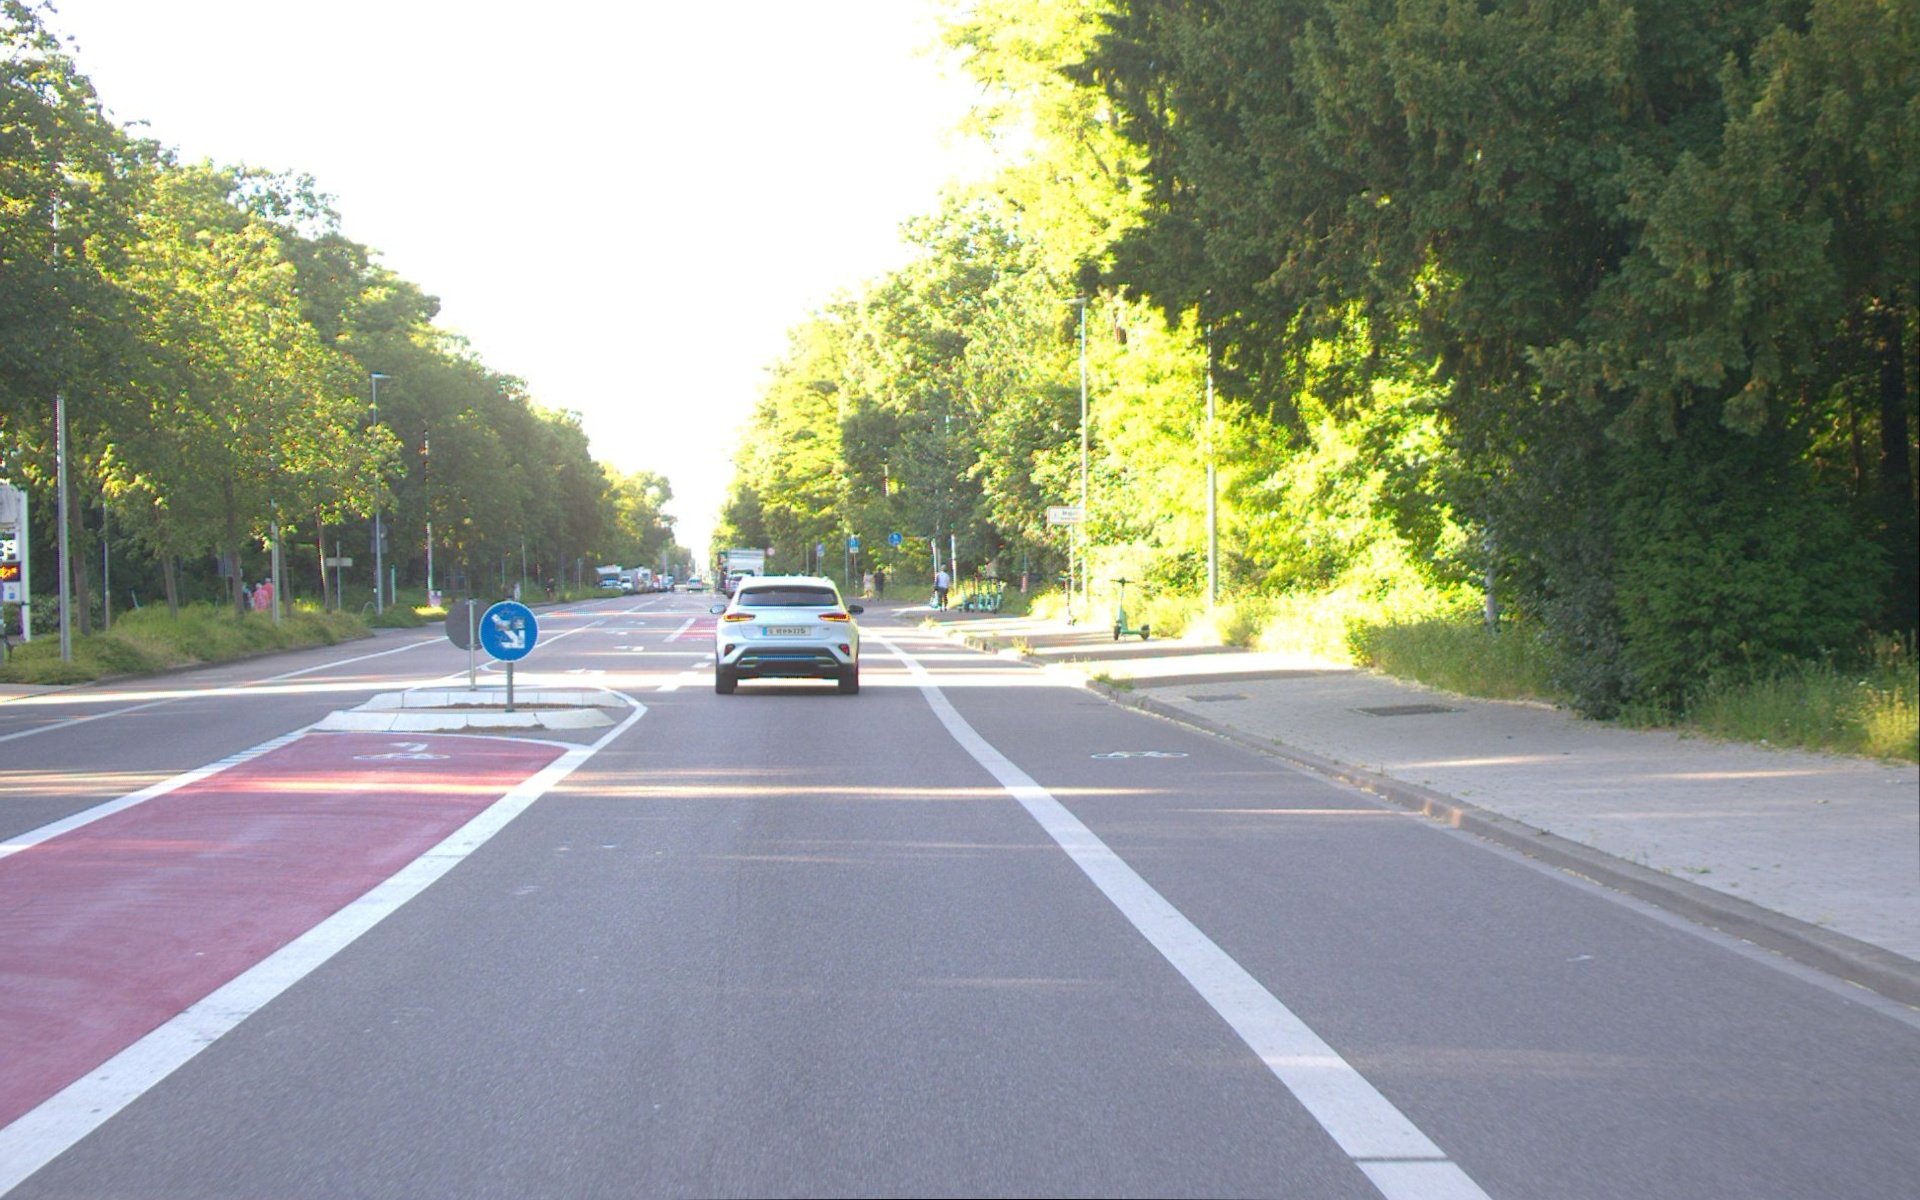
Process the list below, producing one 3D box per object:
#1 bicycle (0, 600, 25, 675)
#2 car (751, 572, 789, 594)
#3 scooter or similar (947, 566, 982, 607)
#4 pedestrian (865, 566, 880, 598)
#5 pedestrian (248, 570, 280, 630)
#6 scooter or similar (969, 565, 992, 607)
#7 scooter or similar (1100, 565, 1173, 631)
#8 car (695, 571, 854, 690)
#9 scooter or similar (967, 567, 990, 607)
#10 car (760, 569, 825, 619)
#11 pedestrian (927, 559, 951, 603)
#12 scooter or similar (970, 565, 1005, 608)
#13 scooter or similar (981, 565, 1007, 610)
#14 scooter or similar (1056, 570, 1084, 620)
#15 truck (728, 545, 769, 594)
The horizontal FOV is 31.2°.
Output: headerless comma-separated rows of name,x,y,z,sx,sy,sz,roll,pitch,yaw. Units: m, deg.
bicycle,-16.599,0.646,59.274,0.654,1.246,2.160,-2,1,-8
car,-11.560,-1.041,209.358,1.993,1.322,4.001,-2,1,-7
scooter or similar,0.155,-0.463,119.425,0.682,1.418,1.682,-2,1,-19
pedestrian,-4.534,-0.922,178.748,0.698,1.647,0.876,-2,0,-4
pedestrian,-23.723,0.012,117.172,0.718,2.007,0.746,-2,1,26
scooter or similar,0.716,-0.496,120.769,0.682,1.418,1.682,-1,1,-3
scooter or similar,3.510,-0.045,68.202,0.534,1.245,1.537,-1,1,44
car,-2.429,0.367,44.271,1.761,1.454,3.818,0,0,-7
scooter or similar,0.676,-0.482,123.824,0.682,1.418,1.682,-1,1,-3
car,-5.349,-0.213,109.759,1.993,1.514,4.000,-1,1,-3
pedestrian,-0.744,-0.676,122.291,0.755,1.558,0.802,-2,1,1
scooter or similar,0.915,-0.446,115.709,0.682,1.418,1.682,-1,1,-17
scooter or similar,1.098,-0.405,111.761,0.682,1.418,1.682,-1,1,-4
scooter or similar,2.755,-0.132,86.042,0.533,1.245,1.541,-1,1,-3
truck,-15.596,-2.236,252.961,2.799,3.558,8.036,0,0,-5
